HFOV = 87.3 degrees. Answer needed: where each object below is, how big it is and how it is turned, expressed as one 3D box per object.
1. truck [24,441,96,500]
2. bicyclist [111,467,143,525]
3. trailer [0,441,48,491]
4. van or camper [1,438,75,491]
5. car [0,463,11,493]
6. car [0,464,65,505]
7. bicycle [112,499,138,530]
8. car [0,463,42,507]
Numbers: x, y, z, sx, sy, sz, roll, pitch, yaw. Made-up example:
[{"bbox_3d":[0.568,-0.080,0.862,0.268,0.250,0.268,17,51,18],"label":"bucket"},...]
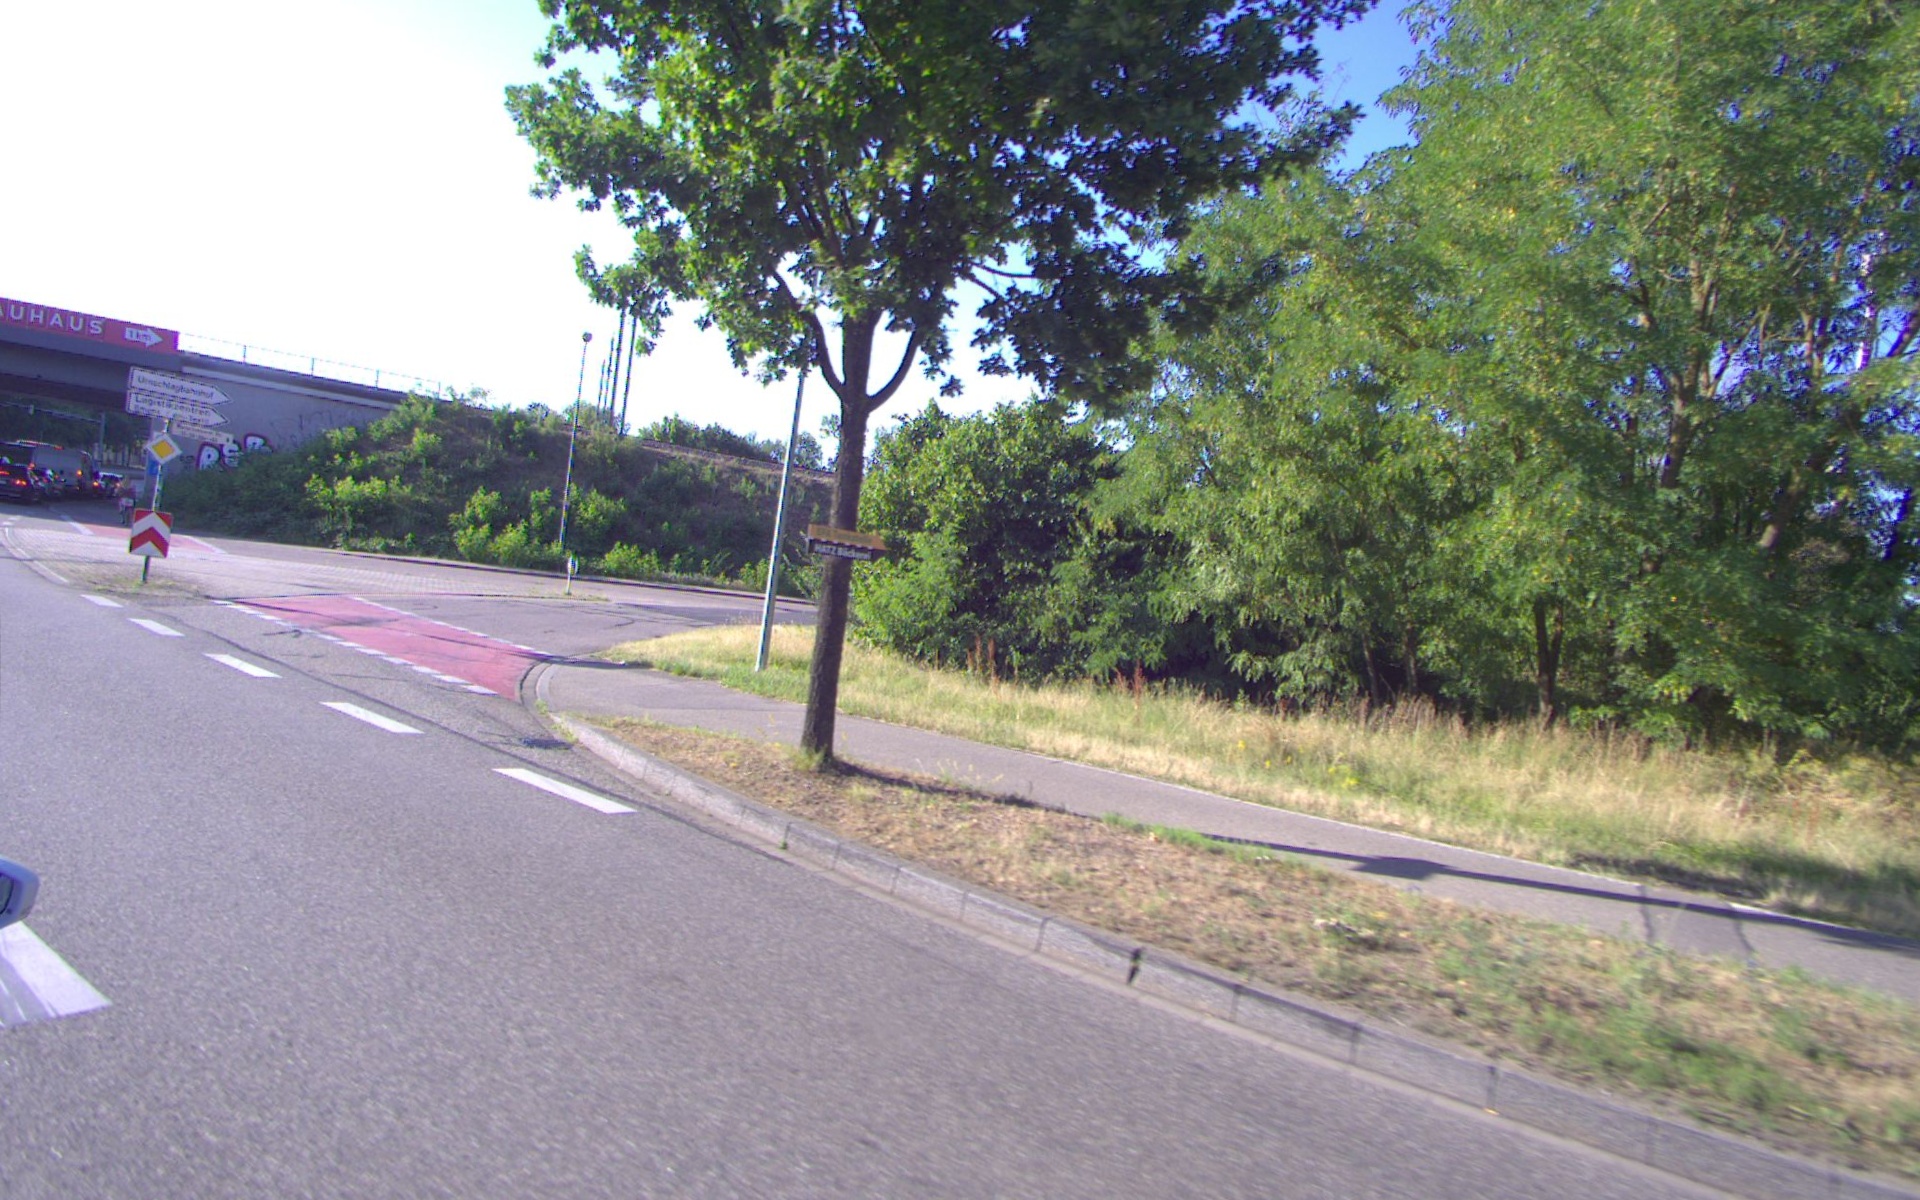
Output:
[{"bbox_3d":[-46.929,-6.673,52.555,2.100,2.550,4.357,8,0,-36],"label":"truck"},{"bbox_3d":[-29.367,-3.653,35.467,0.679,1.930,0.824,7,1,-39],"label":"bicyclist"},{"bbox_3d":[-54.310,-7.691,57.963,1.851,2.496,3.798,6,1,-33],"label":"trailer"},{"bbox_3d":[-57.303,-8.370,62.656,1.979,2.602,5.870,7,0,-30],"label":"van or camper"},{"bbox_3d":[-51.115,-6.531,52.503,1.572,1.550,3.796,8,0,-34],"label":"car"},{"bbox_3d":[-42.607,-5.258,46.145,1.761,1.514,3.795,6,1,-35],"label":"car"},{"bbox_3d":[-29.311,-3.023,35.328,0.576,0.975,2.855,7,0,-39],"label":"bicycle"},{"bbox_3d":[-38.251,-4.664,40.186,1.732,1.473,4.556,8,1,-37],"label":"car"}]
